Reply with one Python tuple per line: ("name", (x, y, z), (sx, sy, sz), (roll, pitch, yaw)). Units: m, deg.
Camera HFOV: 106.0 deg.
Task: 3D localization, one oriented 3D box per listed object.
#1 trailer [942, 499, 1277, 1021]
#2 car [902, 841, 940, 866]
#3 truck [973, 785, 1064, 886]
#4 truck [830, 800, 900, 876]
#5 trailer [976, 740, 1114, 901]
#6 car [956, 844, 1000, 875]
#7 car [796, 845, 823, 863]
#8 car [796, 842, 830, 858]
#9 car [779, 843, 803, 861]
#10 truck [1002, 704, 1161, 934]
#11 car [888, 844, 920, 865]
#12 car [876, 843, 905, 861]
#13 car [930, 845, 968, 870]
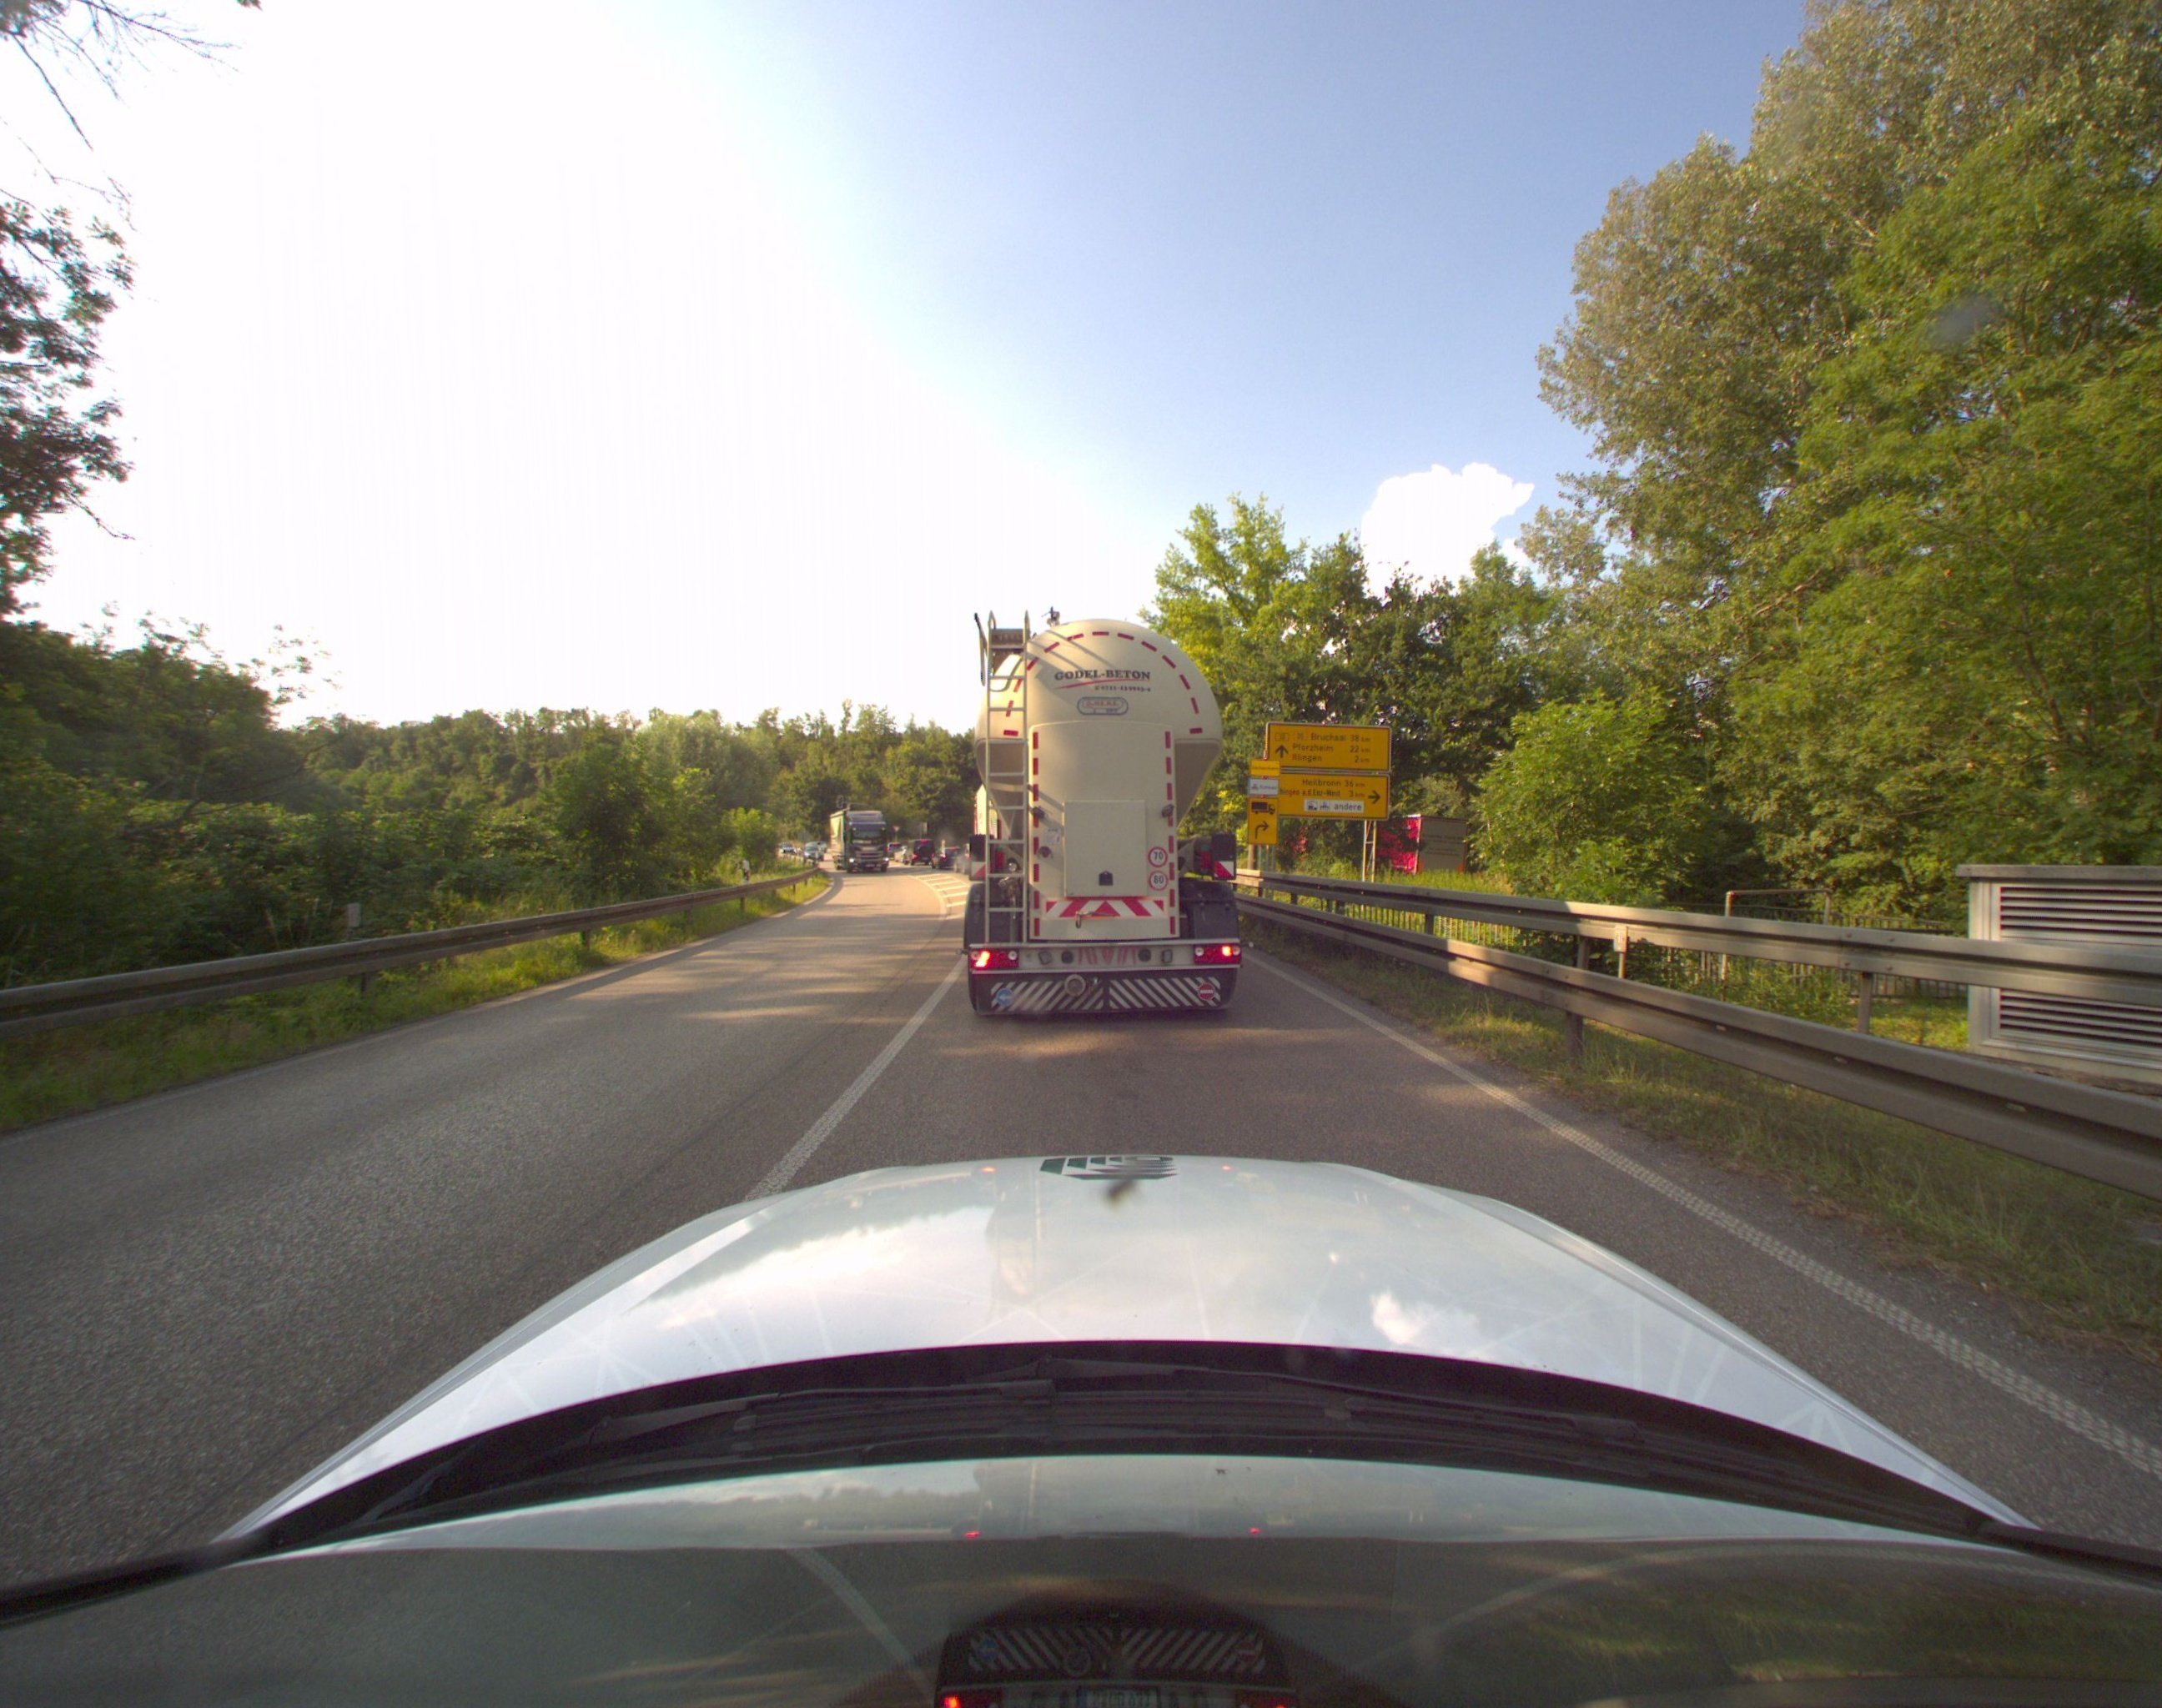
("trailer", (0.080, -0.812, 11.822), (2.879, 4.454, 9.597), (0, 0, -2))
("car", (-12.397, -0.080, 62.960), (1.966, 1.851, 3.968), (-2, 1, -24))
("truck", (-2.963, -0.728, 36.449), (3.451, 4.086, 6.468), (1, 0, -10))
("truck", (-14.580, -0.944, 54.287), (3.025, 4.585, 10.161), (0, 0, -23))
("trailer", (-1.830, -0.903, 29.448), (3.545, 4.513, 12.943), (1, 0, -9))
("car", (-5.915, 0.272, 46.241), (1.872, 1.628, 3.978), (-2, 1, -16))
("car", (-25.417, -0.033, 76.140), (1.877, 1.556, 3.966), (1, 0, -26))
("car", (-33.422, -0.490, 101.506), (1.852, 1.851, 4.020), (2, 0, 20))
("car", (-30.582, -0.238, 85.899), (1.878, 1.851, 3.965), (1, 0, -27))
("truck", (-0.219, -0.628, 17.371), (2.819, 4.035, 5.884), (0, 0, -5))
("car", (-15.523, 0.016, 71.128), (1.877, 1.683, 3.967), (2, 0, -25))
("car", (-17.807, -0.184, 76.037), (1.876, 1.595, 3.968), (2, 0, -25))
("car", (-8.801, 0.218, 54.075), (1.873, 1.564, 3.974), (-2, 1, -19))
